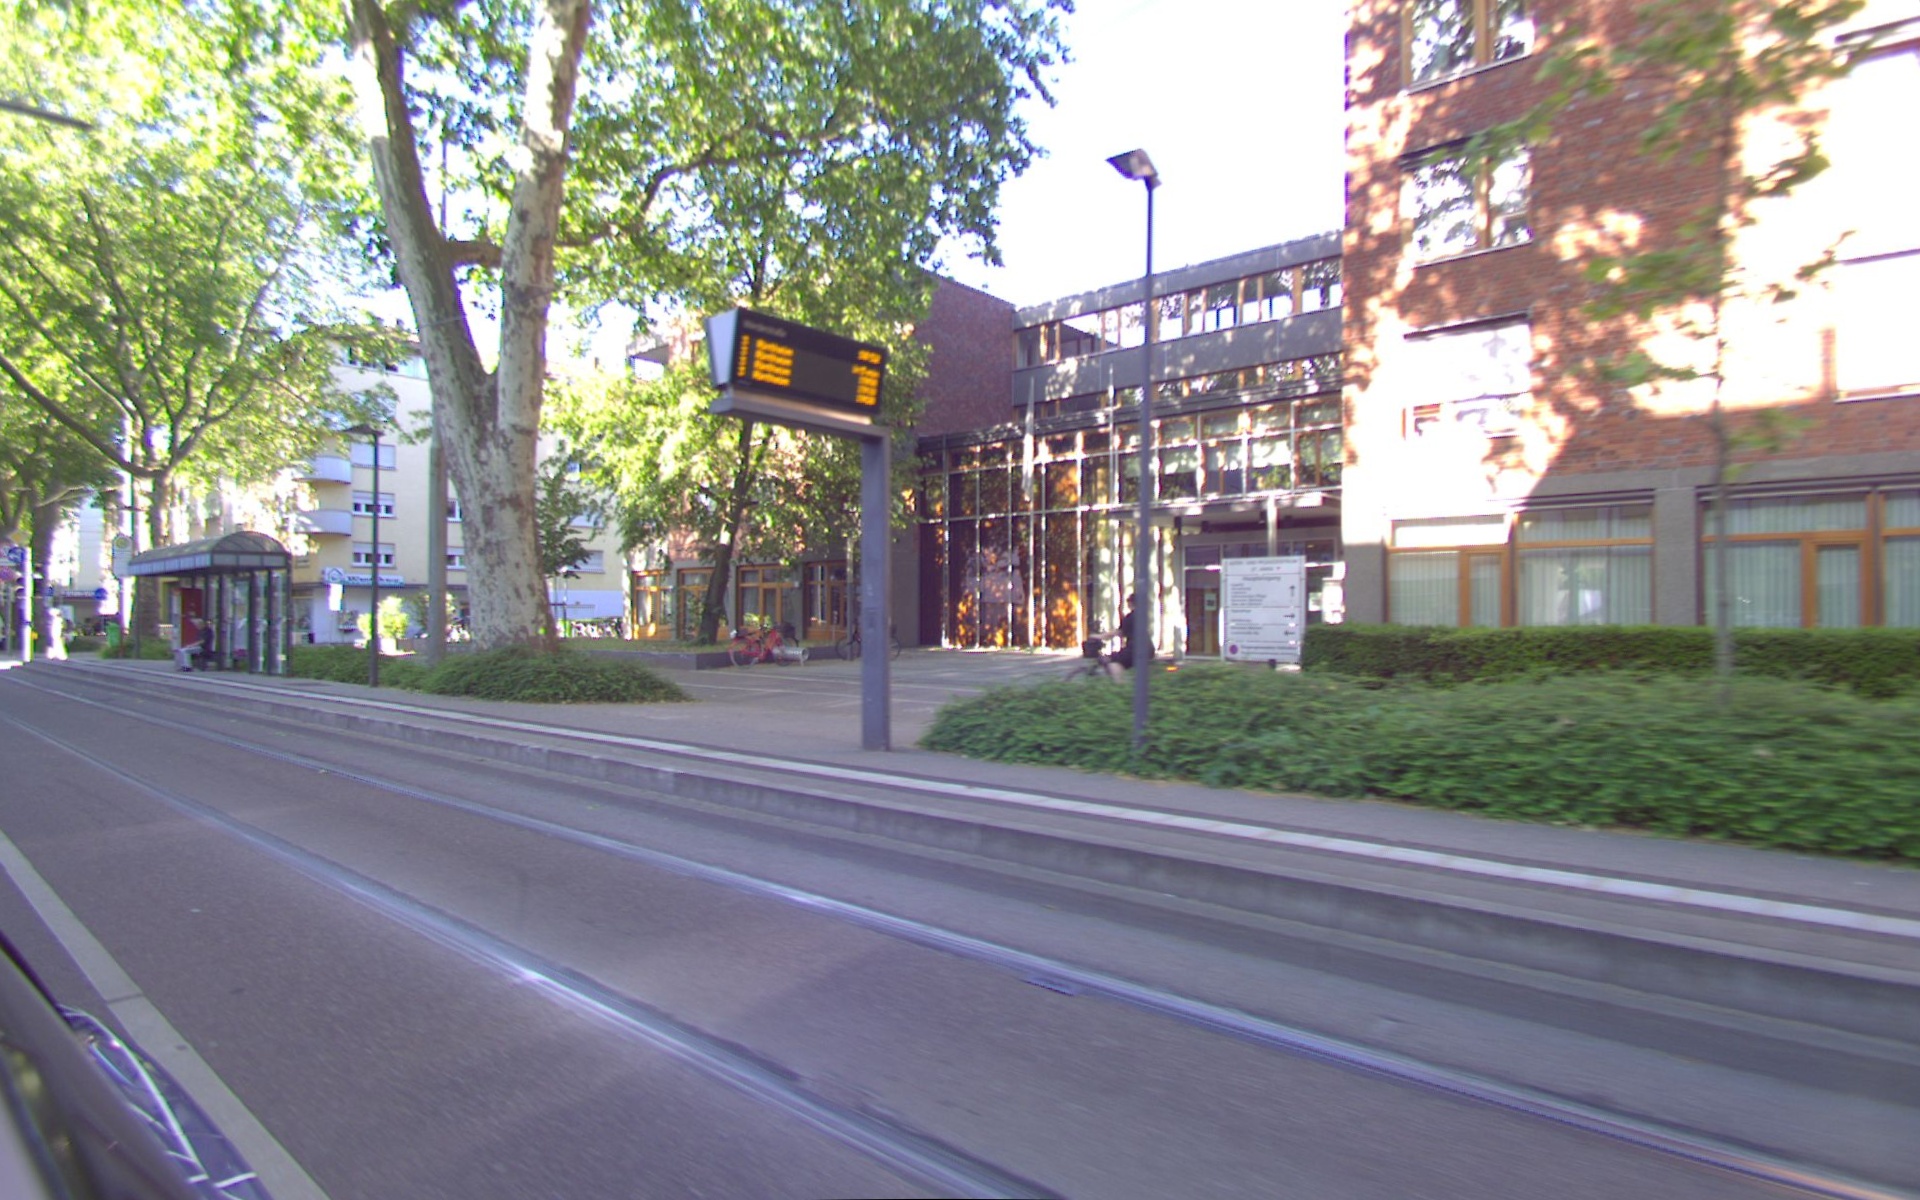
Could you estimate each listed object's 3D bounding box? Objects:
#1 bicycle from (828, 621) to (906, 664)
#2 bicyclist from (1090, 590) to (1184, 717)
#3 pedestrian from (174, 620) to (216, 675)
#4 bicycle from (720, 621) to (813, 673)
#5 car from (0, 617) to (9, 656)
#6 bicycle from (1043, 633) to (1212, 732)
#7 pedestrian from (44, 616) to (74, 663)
[{"bbox_3d":[-2.510,1.147,27.393,2.012,1.102,0.821,-1,0,3],"label":"bicycle"},{"bbox_3d":[2.216,0.642,12.686,0.892,1.526,0.725,-1,0,44],"label":"bicyclist"},{"bbox_3d":[-17.532,1.085,23.193,0.473,1.213,0.699,-1,0,42],"label":"pedestrian"},{"bbox_3d":[-4.784,1.141,25.024,2.067,1.198,0.883,-1,0,-33],"label":"bicycle"},{"bbox_3d":[-49.223,1.819,50.482,5.069,1.906,2.015,-1,1,41],"label":"car"},{"bbox_3d":[2.083,0.995,12.819,2.039,1.102,0.738,-1,0,44],"label":"bicycle"},{"bbox_3d":[-30.932,1.345,34.747,0.561,1.606,0.699,-1,0,42],"label":"pedestrian"}]
